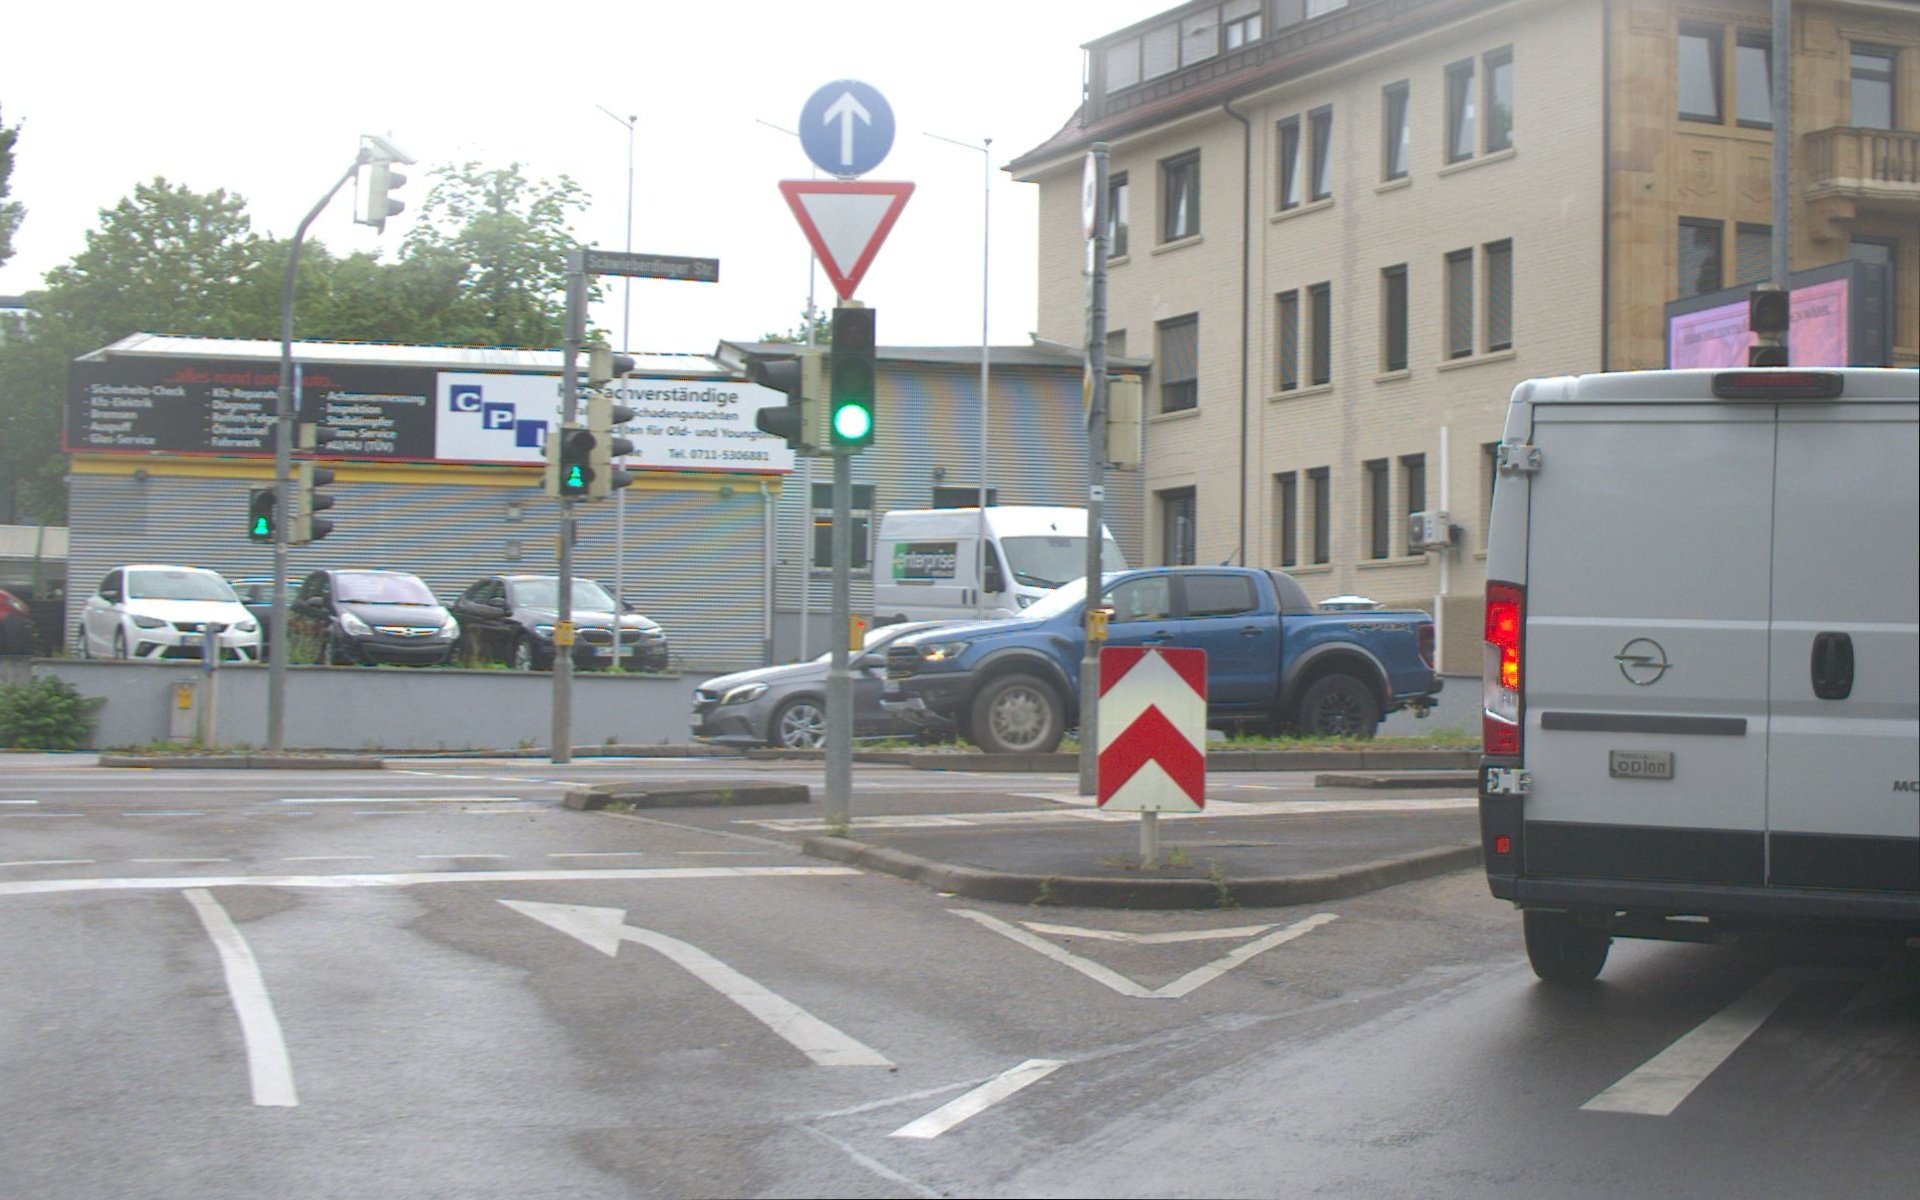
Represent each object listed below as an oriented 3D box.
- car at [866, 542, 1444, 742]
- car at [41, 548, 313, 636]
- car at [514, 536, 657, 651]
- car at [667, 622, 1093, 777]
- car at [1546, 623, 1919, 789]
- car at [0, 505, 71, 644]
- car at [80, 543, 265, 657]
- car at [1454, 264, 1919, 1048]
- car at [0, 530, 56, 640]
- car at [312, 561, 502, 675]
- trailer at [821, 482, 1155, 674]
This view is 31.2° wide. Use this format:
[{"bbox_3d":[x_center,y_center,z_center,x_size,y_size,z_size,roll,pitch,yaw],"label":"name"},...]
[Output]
[{"bbox_3d":[1.857,0.435,32.849,5.151,1.812,1.940,0,-2,-19],"label":"car"},{"bbox_3d":[-12.992,-0.127,57.230,4.325,1.402,1.373,0,-3,-9],"label":"car"},{"bbox_3d":[-4.918,-0.092,44.924,1.223,1.419,2.687,2,0,-20],"label":"car"},{"bbox_3d":[-0.821,1.041,35.227,4.056,1.454,1.547,2,-3,-20],"label":"car"},{"bbox_3d":[8.262,1.092,34.305,4.425,1.526,1.812,2,-3,-20],"label":"car"},{"bbox_3d":[-18.669,-0.498,64.014,3.972,2.490,1.654,2,-3,-13],"label":"car"},{"bbox_3d":[-10.163,-0.018,44.205,1.866,1.364,3.624,2,0,-20],"label":"car"},{"bbox_3d":[3.626,0.145,13.452,2.053,2.508,4.937,2,1,23],"label":"car"},{"bbox_3d":[-18.254,-0.298,60.804,4.295,1.855,1.741,2,-3,-13],"label":"car"},{"bbox_3d":[-7.138,0.211,44.117,1.735,1.364,3.624,2,0,-20],"label":"car"},{"bbox_3d":[0.272,-0.218,50.253,2.386,2.420,7.121,2,-3,-21],"label":"trailer"}]
